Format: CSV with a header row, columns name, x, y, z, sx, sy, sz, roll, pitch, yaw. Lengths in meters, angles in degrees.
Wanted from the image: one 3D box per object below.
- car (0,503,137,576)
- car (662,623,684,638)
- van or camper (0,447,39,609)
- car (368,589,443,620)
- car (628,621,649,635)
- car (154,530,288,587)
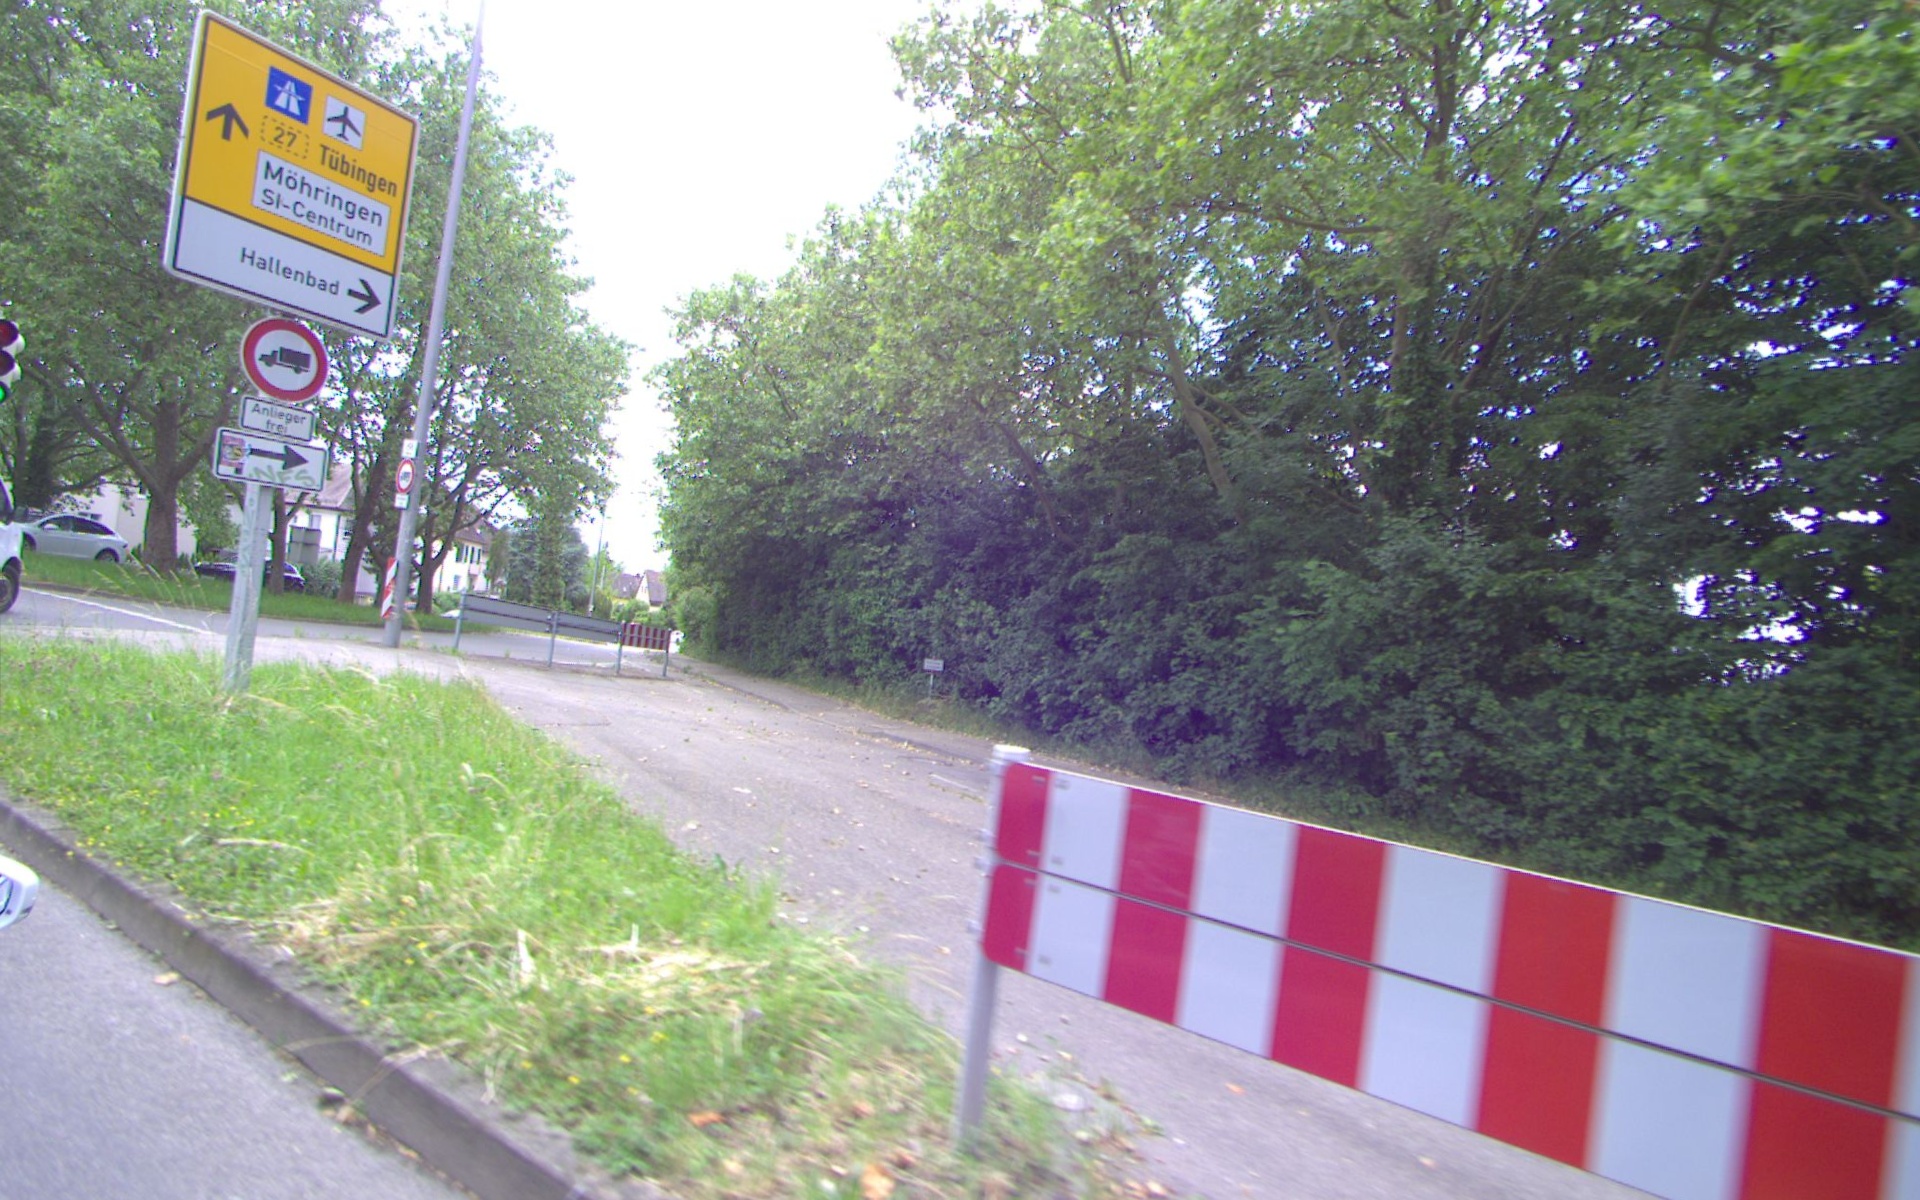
name,x,y,z,sx,sy,sz,roll,pitch,yaw
car,-27.189,-1.837,29.601,1.824,1.677,4.909,8,-2,-2
car,-33.292,3.548,116.630,1.713,1.489,3.362,9,-5,-27
van or camper,-12.291,-0.985,11.006,1.909,2.036,4.796,9,-2,-28
car,-37.423,0.338,68.005,1.700,1.489,4.287,6,-5,19
car,-51.372,4.458,160.776,1.751,1.817,4.905,9,-4,-35
car,-28.711,-1.541,39.301,1.731,1.609,4.616,8,-3,-2
